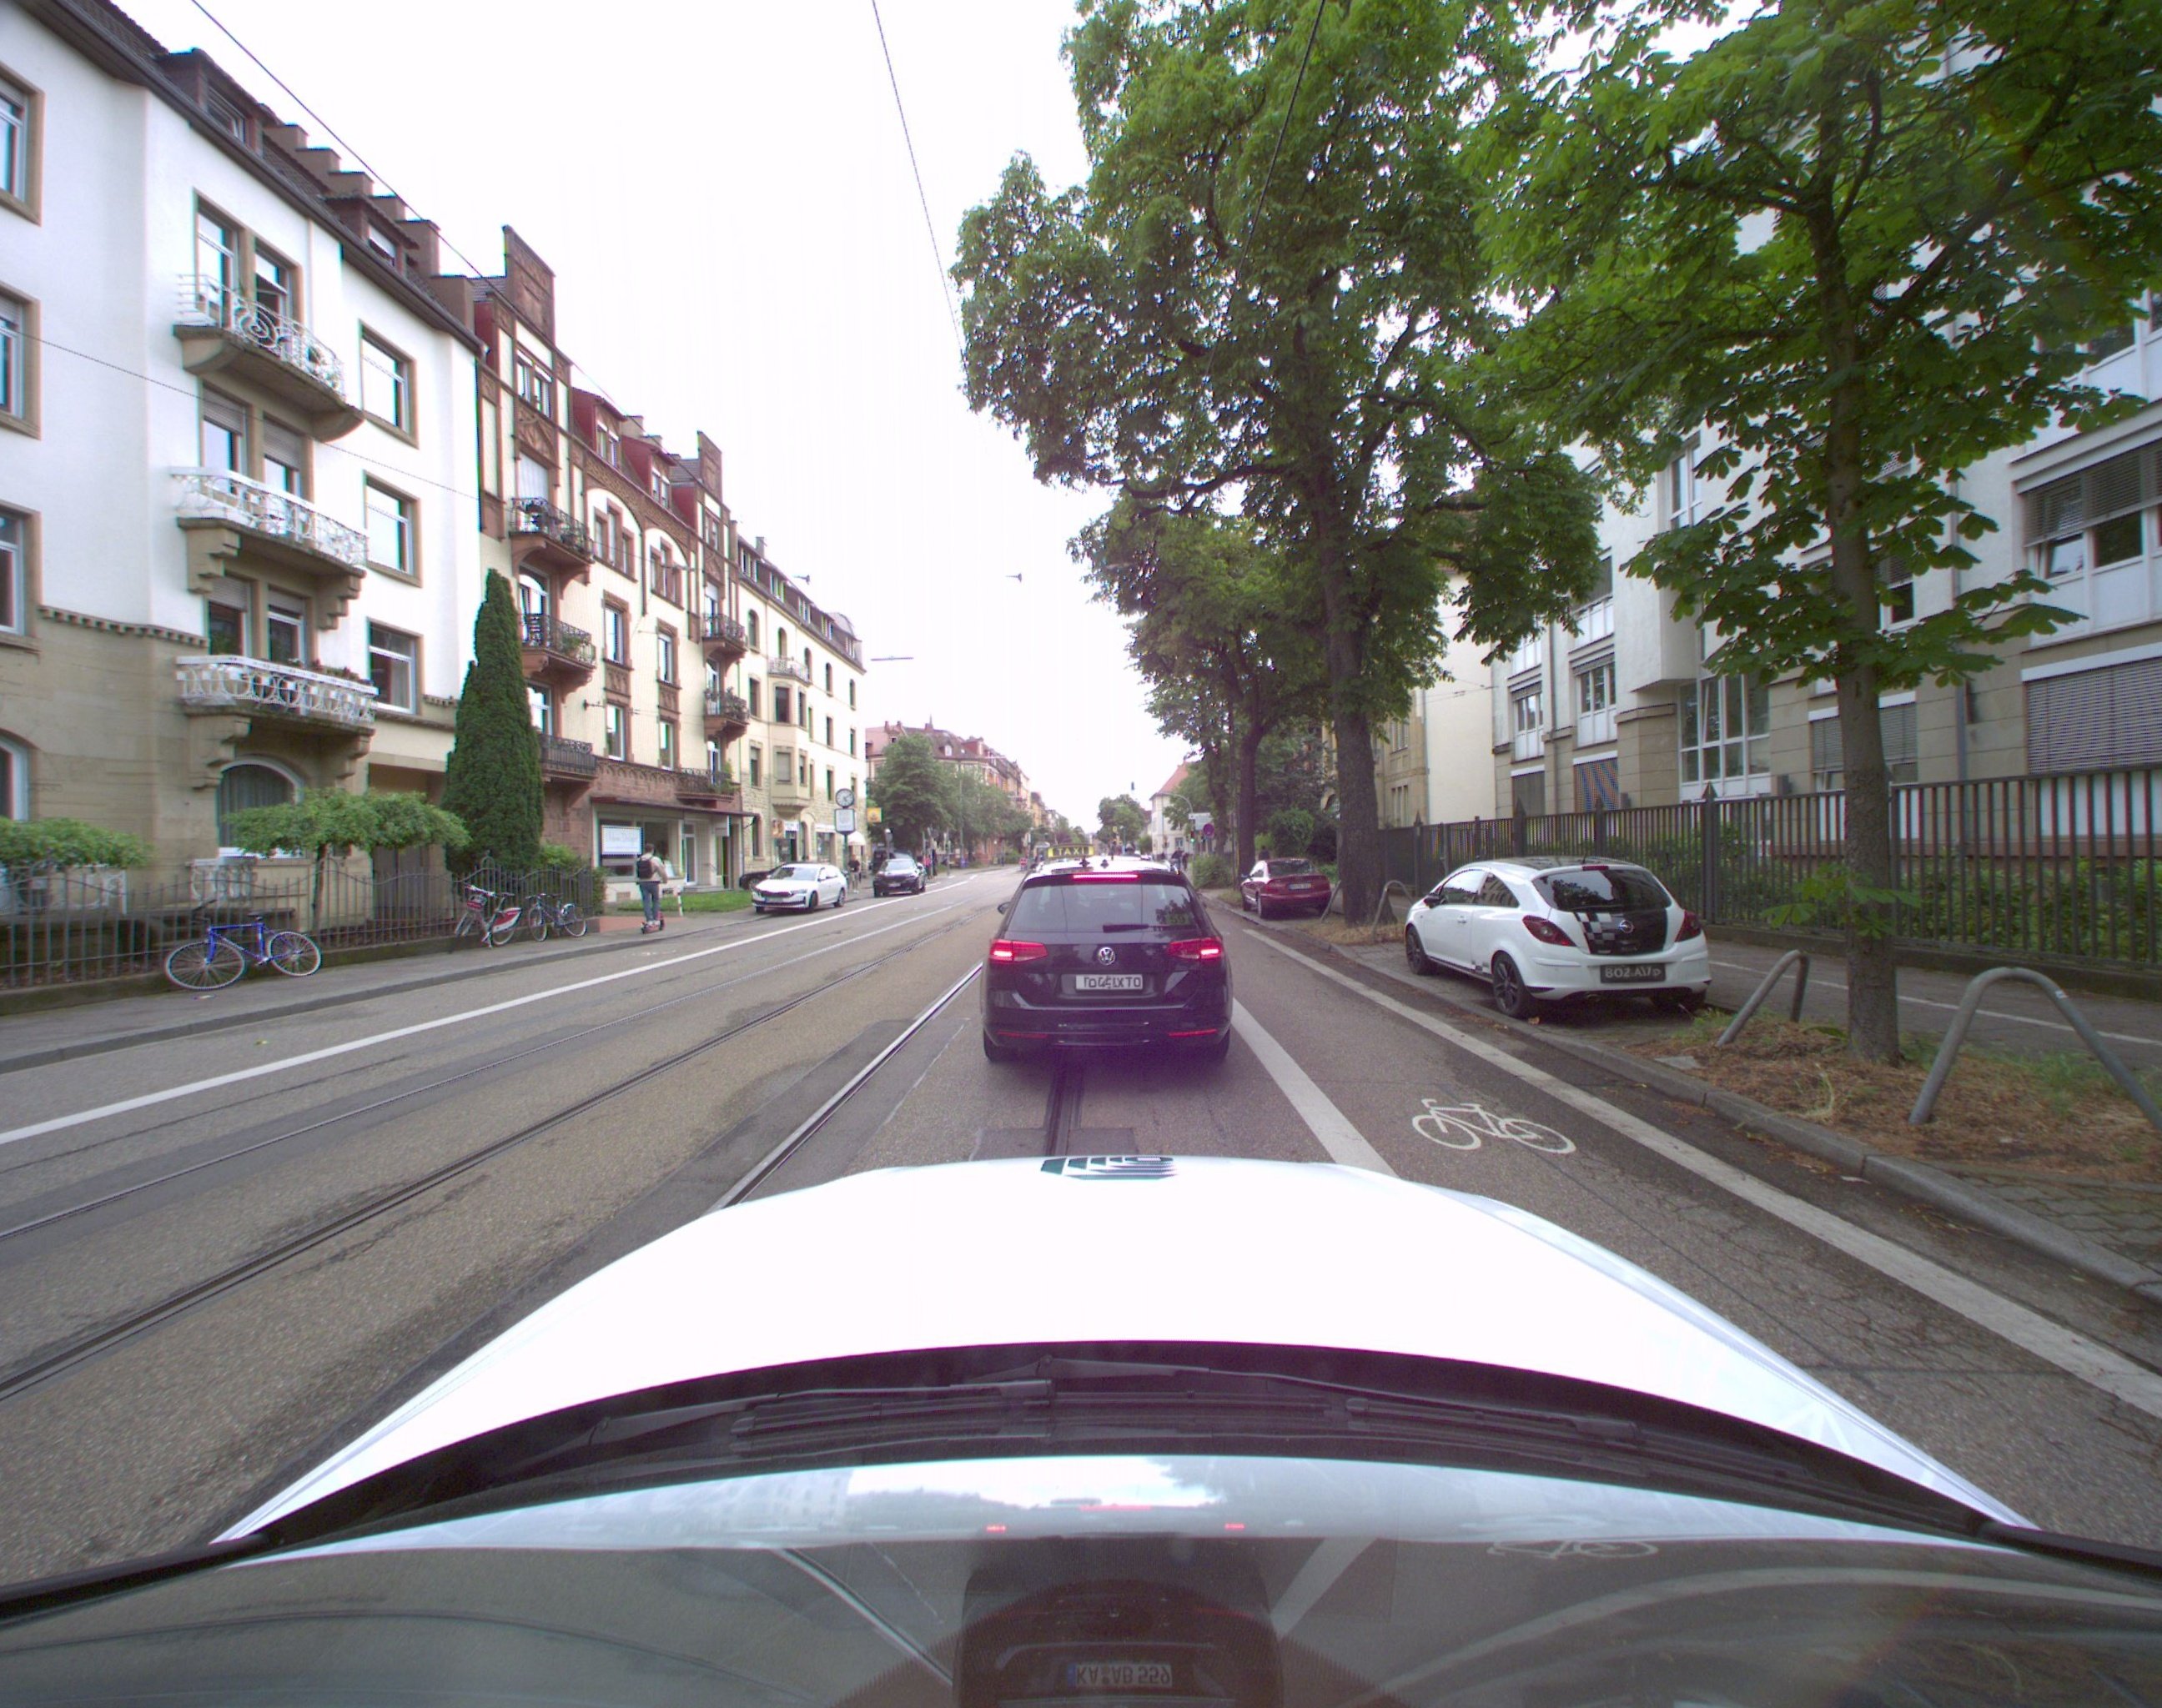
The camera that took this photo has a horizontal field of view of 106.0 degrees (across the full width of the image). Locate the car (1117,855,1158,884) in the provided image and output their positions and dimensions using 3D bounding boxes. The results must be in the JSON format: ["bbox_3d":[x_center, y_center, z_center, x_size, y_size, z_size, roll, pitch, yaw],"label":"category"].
[{"bbox_3d":[3.074,0.782,43.641,1.881,1.408,4.009,-2,0,8],"label":"car"}]

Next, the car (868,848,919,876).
[{"bbox_3d":[-16.832,0.745,72.836,2.197,2.417,5.316,-1,0,-41],"label":"car"}]

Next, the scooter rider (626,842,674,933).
[{"bbox_3d":[-9.838,0.757,18.605,0.639,2.013,0.758,-2,0,1],"label":"scooter rider"}]

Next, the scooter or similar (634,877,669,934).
[{"bbox_3d":[-9.791,1.164,18.599,0.230,1.234,0.954,-2,0,2],"label":"scooter or similar"}]

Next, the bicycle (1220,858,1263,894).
[{"bbox_3d":[5.583,0.758,28.246,1.915,1.198,0.428,0,-1,-43],"label":"bicycle"}]

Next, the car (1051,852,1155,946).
[{"bbox_3d":[0.440,0.757,15.638,1.717,1.546,4.002,-1,0,2],"label":"car"}]

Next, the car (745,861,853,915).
[{"bbox_3d":[-8.897,1.011,26.102,1.741,1.484,4.609,-2,0,1],"label":"car"}]

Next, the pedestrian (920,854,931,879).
[{"bbox_3d":[-11.281,0.895,59.226,0.621,1.842,0.609,-2,0,-1],"label":"pedestrian"}]

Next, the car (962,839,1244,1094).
[{"bbox_3d":[0.197,0.695,7.043,1.717,1.546,4.002,-1,0,2],"label":"car"}]

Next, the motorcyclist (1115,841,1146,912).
[{"bbox_3d":[1.218,0.543,20.177,0.700,1.692,0.805,-2,0,1],"label":"motorcyclist"}]

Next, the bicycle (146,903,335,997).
[{"bbox_3d":[-10.826,1.205,10.580,0.356,0.928,1.663,-21,-1,4],"label":"bicycle"}]

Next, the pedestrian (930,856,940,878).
[{"bbox_3d":[-11.371,0.992,63.407,0.587,1.663,0.839,-2,0,-2],"label":"pedestrian"}]

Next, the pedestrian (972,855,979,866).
[{"bbox_3d":[-14.372,0.906,110.793,0.582,1.520,0.653,-2,0,37],"label":"pedestrian"}]

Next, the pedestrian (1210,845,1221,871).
[{"bbox_3d":[9.667,0.314,58.522,0.510,1.831,0.420,-5,0,18],"label":"pedestrian"}]

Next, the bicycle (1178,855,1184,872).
[{"bbox_3d":[7.504,0.693,61.064,0.295,1.223,1.434,-2,0,9],"label":"bicycle"}]

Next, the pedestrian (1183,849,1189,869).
[{"bbox_3d":[8.227,0.418,63.772,0.447,1.562,0.480,-2,0,9],"label":"pedestrian"}]

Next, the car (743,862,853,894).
[{"bbox_3d":[-13.008,1.095,37.608,4.415,1.370,1.878,1,0,-3],"label":"car"}]

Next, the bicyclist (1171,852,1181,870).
[{"bbox_3d":[6.770,0.484,58.035,0.647,1.302,0.697,-2,0,9],"label":"bicyclist"}]

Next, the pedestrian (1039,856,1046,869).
[{"bbox_3d":[-4.532,0.960,95.707,0.711,1.520,0.590,-2,0,3],"label":"pedestrian"}]

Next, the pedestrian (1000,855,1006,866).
[{"bbox_3d":[-10.773,0.916,112.458,0.582,1.520,0.653,-2,0,37],"label":"pedestrian"}]

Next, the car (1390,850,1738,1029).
[{"bbox_3d":[4.817,0.723,8.811,1.596,1.435,3.779,-3,0,3],"label":"car"}]

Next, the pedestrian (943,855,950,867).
[{"bbox_3d":[-18.199,0.956,110.183,0.582,1.520,0.653,-2,0,37],"label":"pedestrian"}]

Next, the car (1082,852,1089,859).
[{"bbox_3d":[1.221,0.372,210.670,1.715,1.622,3.864,-2,0,1],"label":"car"}]

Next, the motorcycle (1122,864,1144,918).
[{"bbox_3d":[1.269,0.882,20.175,0.445,1.235,1.907,-2,0,2],"label":"motorcycle"}]

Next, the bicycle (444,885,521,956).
[{"bbox_3d":[-10.555,1.142,14.417,0.385,1.102,1.620,-2,0,-9],"label":"bicycle"}]

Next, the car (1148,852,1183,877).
[{"bbox_3d":[5.441,0.663,52.893,1.986,1.577,4.001,0,-1,2],"label":"car"}]

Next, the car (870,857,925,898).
[{"bbox_3d":[-8.384,1.033,37.669,1.881,1.611,4.875,-4,0,-7],"label":"car"}]

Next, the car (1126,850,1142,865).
[{"bbox_3d":[7.277,0.489,112.056,2.025,2.014,4.001,0,-1,2],"label":"car"}]

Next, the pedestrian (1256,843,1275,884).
[{"bbox_3d":[8.395,0.441,37.125,0.630,1.815,0.726,-2,0,-1],"label":"pedestrian"}]

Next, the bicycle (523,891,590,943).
[{"bbox_3d":[-10.711,1.274,16.687,0.331,0.938,1.516,-2,0,1],"label":"bicycle"}]

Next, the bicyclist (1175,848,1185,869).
[{"bbox_3d":[7.455,0.308,61.140,0.647,1.568,0.697,-2,0,8],"label":"bicyclist"}]

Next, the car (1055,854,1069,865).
[{"bbox_3d":[-3.258,0.884,138.957,1.985,1.791,4.004,0,-1,4],"label":"car"}]

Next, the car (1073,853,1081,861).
[{"bbox_3d":[-0.853,0.640,178.335,1.715,1.622,3.864,-2,0,1],"label":"car"}]

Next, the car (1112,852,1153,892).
[{"bbox_3d":[2.106,0.734,34.126,1.600,1.556,3.579,0,-1,2],"label":"car"}]

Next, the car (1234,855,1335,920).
[{"bbox_3d":[5.087,0.776,20.895,1.596,1.399,4.229,-3,0,2],"label":"car"}]

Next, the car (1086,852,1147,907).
[{"bbox_3d":[1.074,0.723,25.311,1.717,1.546,4.002,-1,0,2],"label":"car"}]

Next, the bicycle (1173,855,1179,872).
[{"bbox_3d":[6.783,0.684,58.011,0.251,1.196,1.160,-2,0,12],"label":"bicycle"}]

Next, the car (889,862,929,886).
[{"bbox_3d":[-10.584,1.228,50.354,1.644,1.361,4.128,1,0,-1],"label":"car"}]

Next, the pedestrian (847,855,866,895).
[{"bbox_3d":[-10.784,0.999,39.174,0.667,1.844,0.880,-2,0,-6],"label":"pedestrian"}]
